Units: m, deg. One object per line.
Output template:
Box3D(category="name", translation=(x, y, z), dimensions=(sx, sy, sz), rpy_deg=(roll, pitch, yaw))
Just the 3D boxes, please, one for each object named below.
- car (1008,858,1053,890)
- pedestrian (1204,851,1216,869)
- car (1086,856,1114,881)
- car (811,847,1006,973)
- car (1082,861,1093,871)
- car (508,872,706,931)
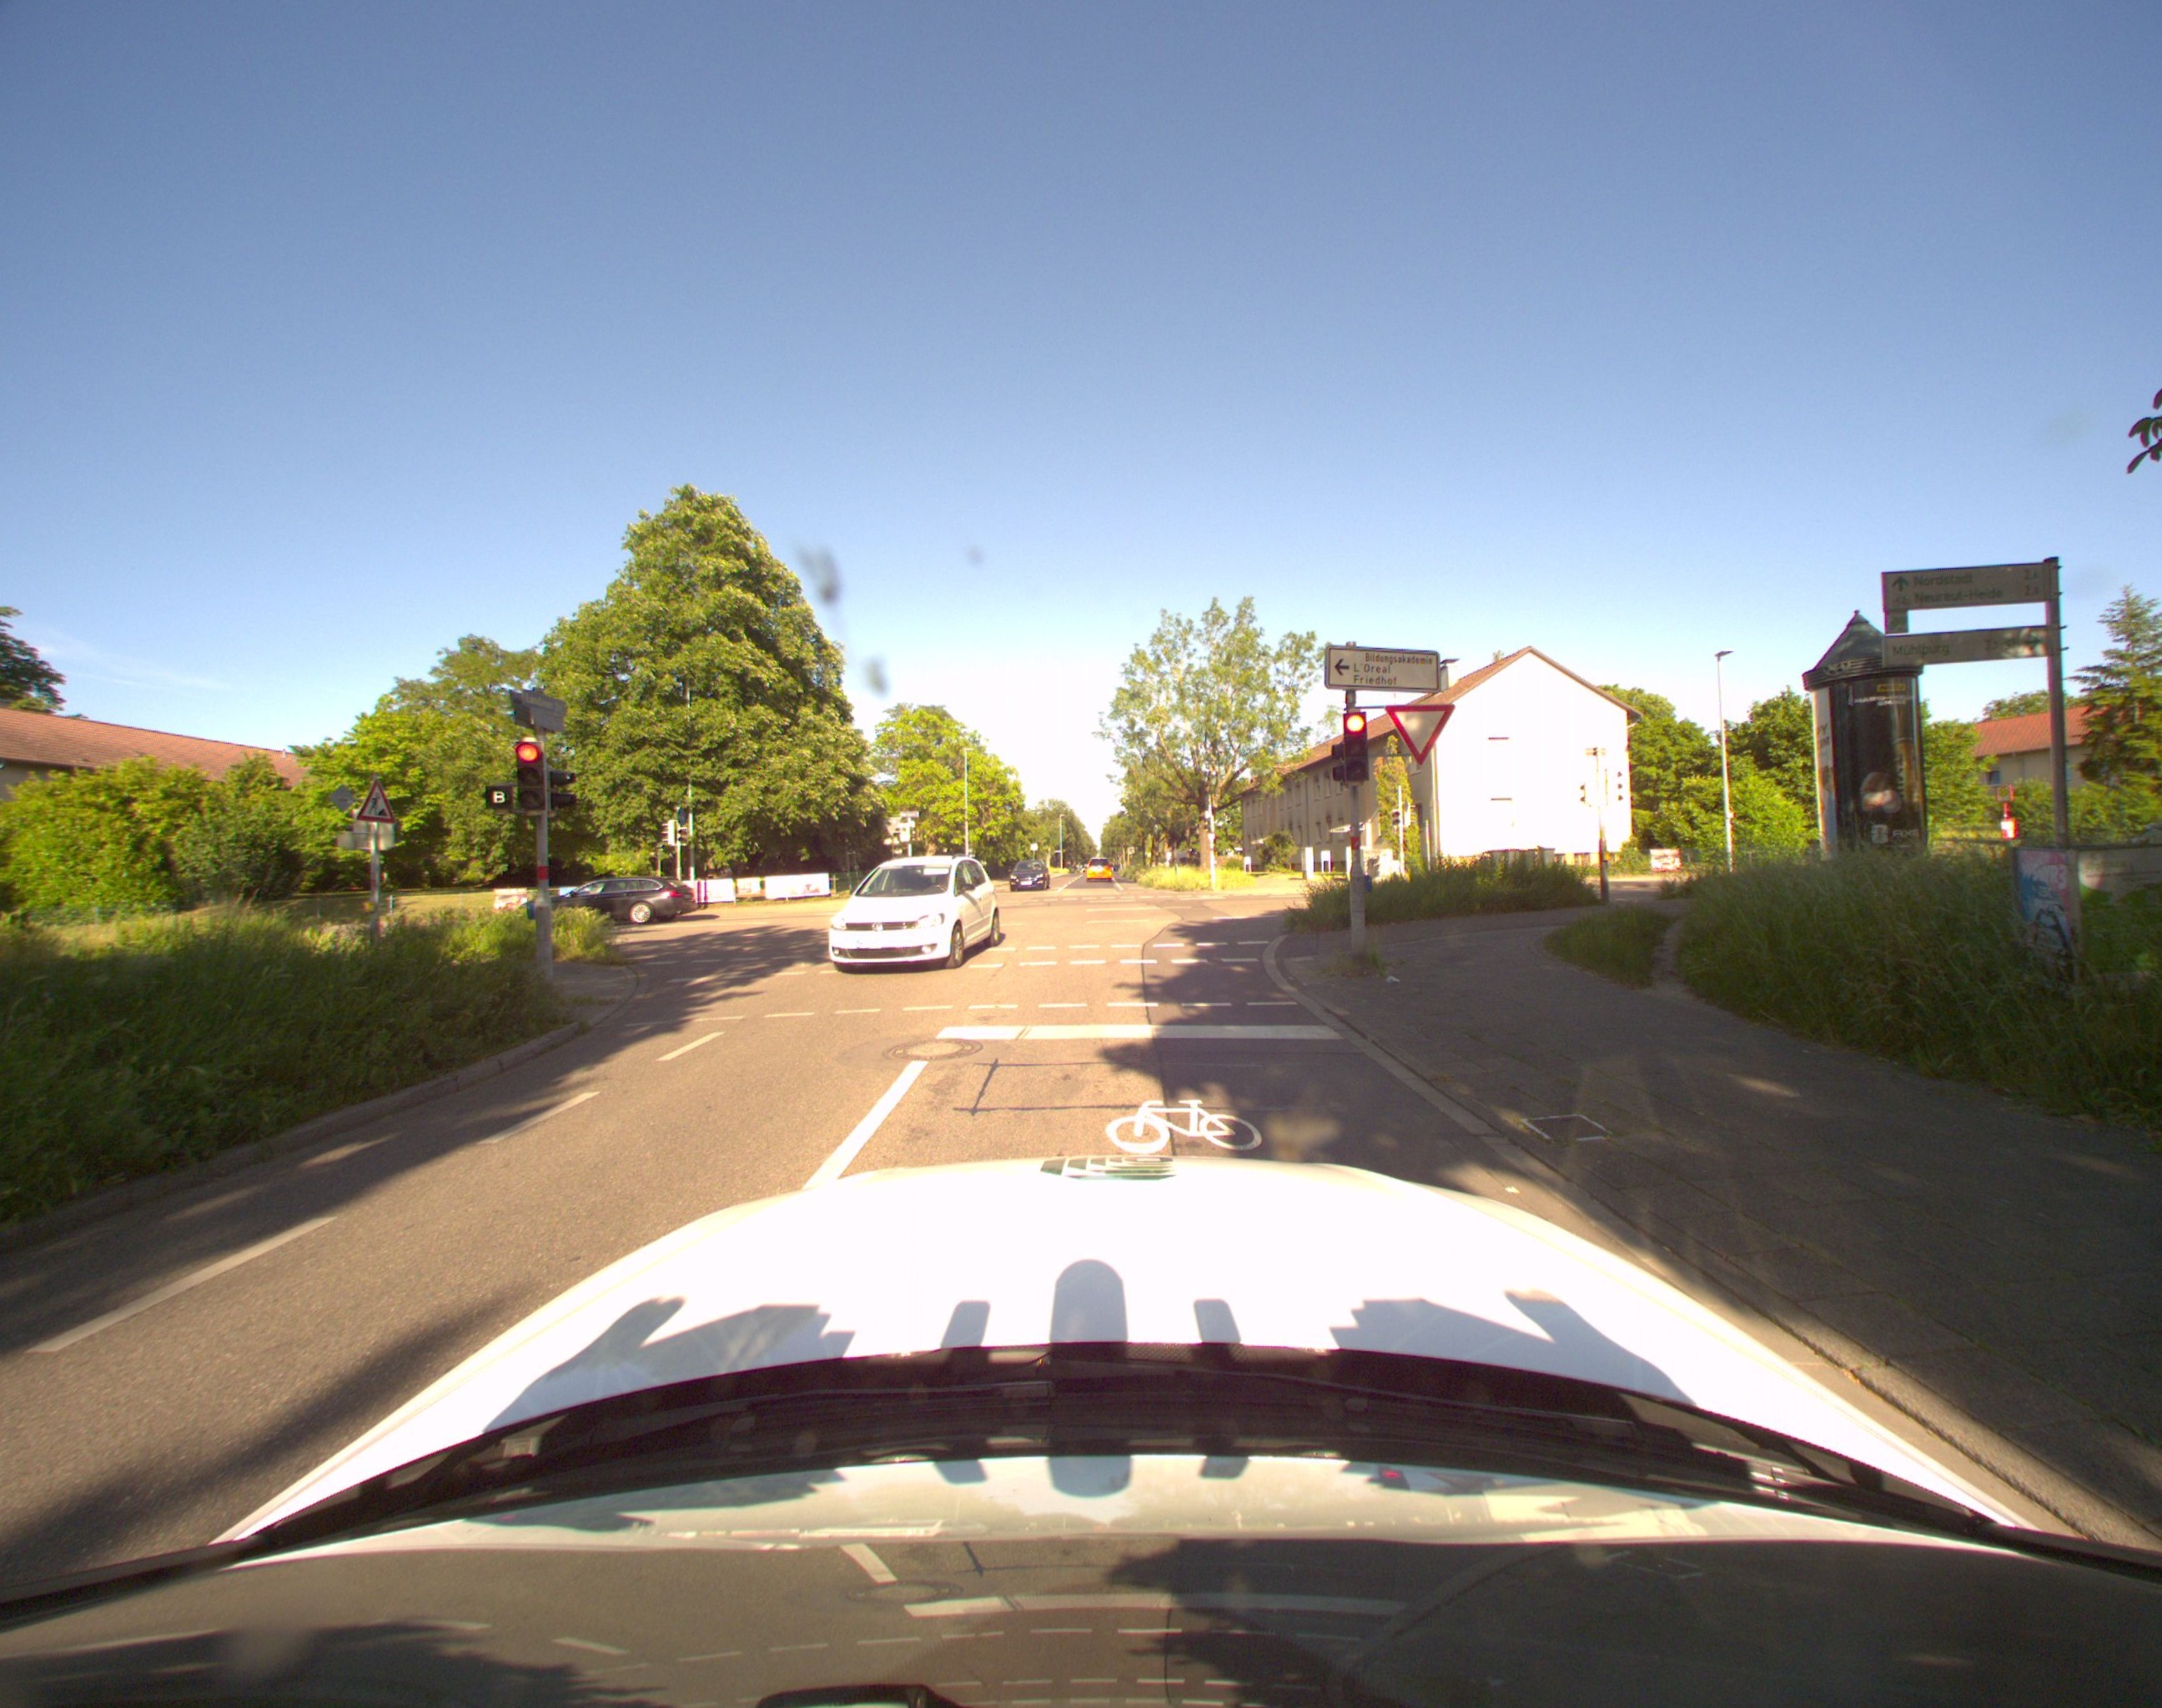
Box3D(category="car", translation=(-2.373, 0.918, 38.816), dimensions=(1.704, 1.385, 3.473), rpy_deg=(-2, 0, 3))
Box3D(category="pedestrian", translation=(10.698, 0.486, 67.478), dimensions=(0.839, 1.493, 0.924), rpy_deg=(1, 0, 1))
Box3D(category="car", translation=(1.293, 0.939, 53.703), dimensions=(1.745, 1.582, 4.002), rpy_deg=(-1, -1, 2))
Box3D(category="car", translation=(-2.428, 0.737, 12.586), dimensions=(1.743, 1.563, 4.126), rpy_deg=(-3, -1, 5))
Box3D(category="car", translation=(1.188, 2.157, 146.785), dimensions=(1.751, 1.624, 3.271), rpy_deg=(-2, 0, 3))
Box3D(category="car", translation=(-14.282, 1.397, 24.828), dimensions=(4.725, 1.430, 1.994), rpy_deg=(-3, 0, -8))
